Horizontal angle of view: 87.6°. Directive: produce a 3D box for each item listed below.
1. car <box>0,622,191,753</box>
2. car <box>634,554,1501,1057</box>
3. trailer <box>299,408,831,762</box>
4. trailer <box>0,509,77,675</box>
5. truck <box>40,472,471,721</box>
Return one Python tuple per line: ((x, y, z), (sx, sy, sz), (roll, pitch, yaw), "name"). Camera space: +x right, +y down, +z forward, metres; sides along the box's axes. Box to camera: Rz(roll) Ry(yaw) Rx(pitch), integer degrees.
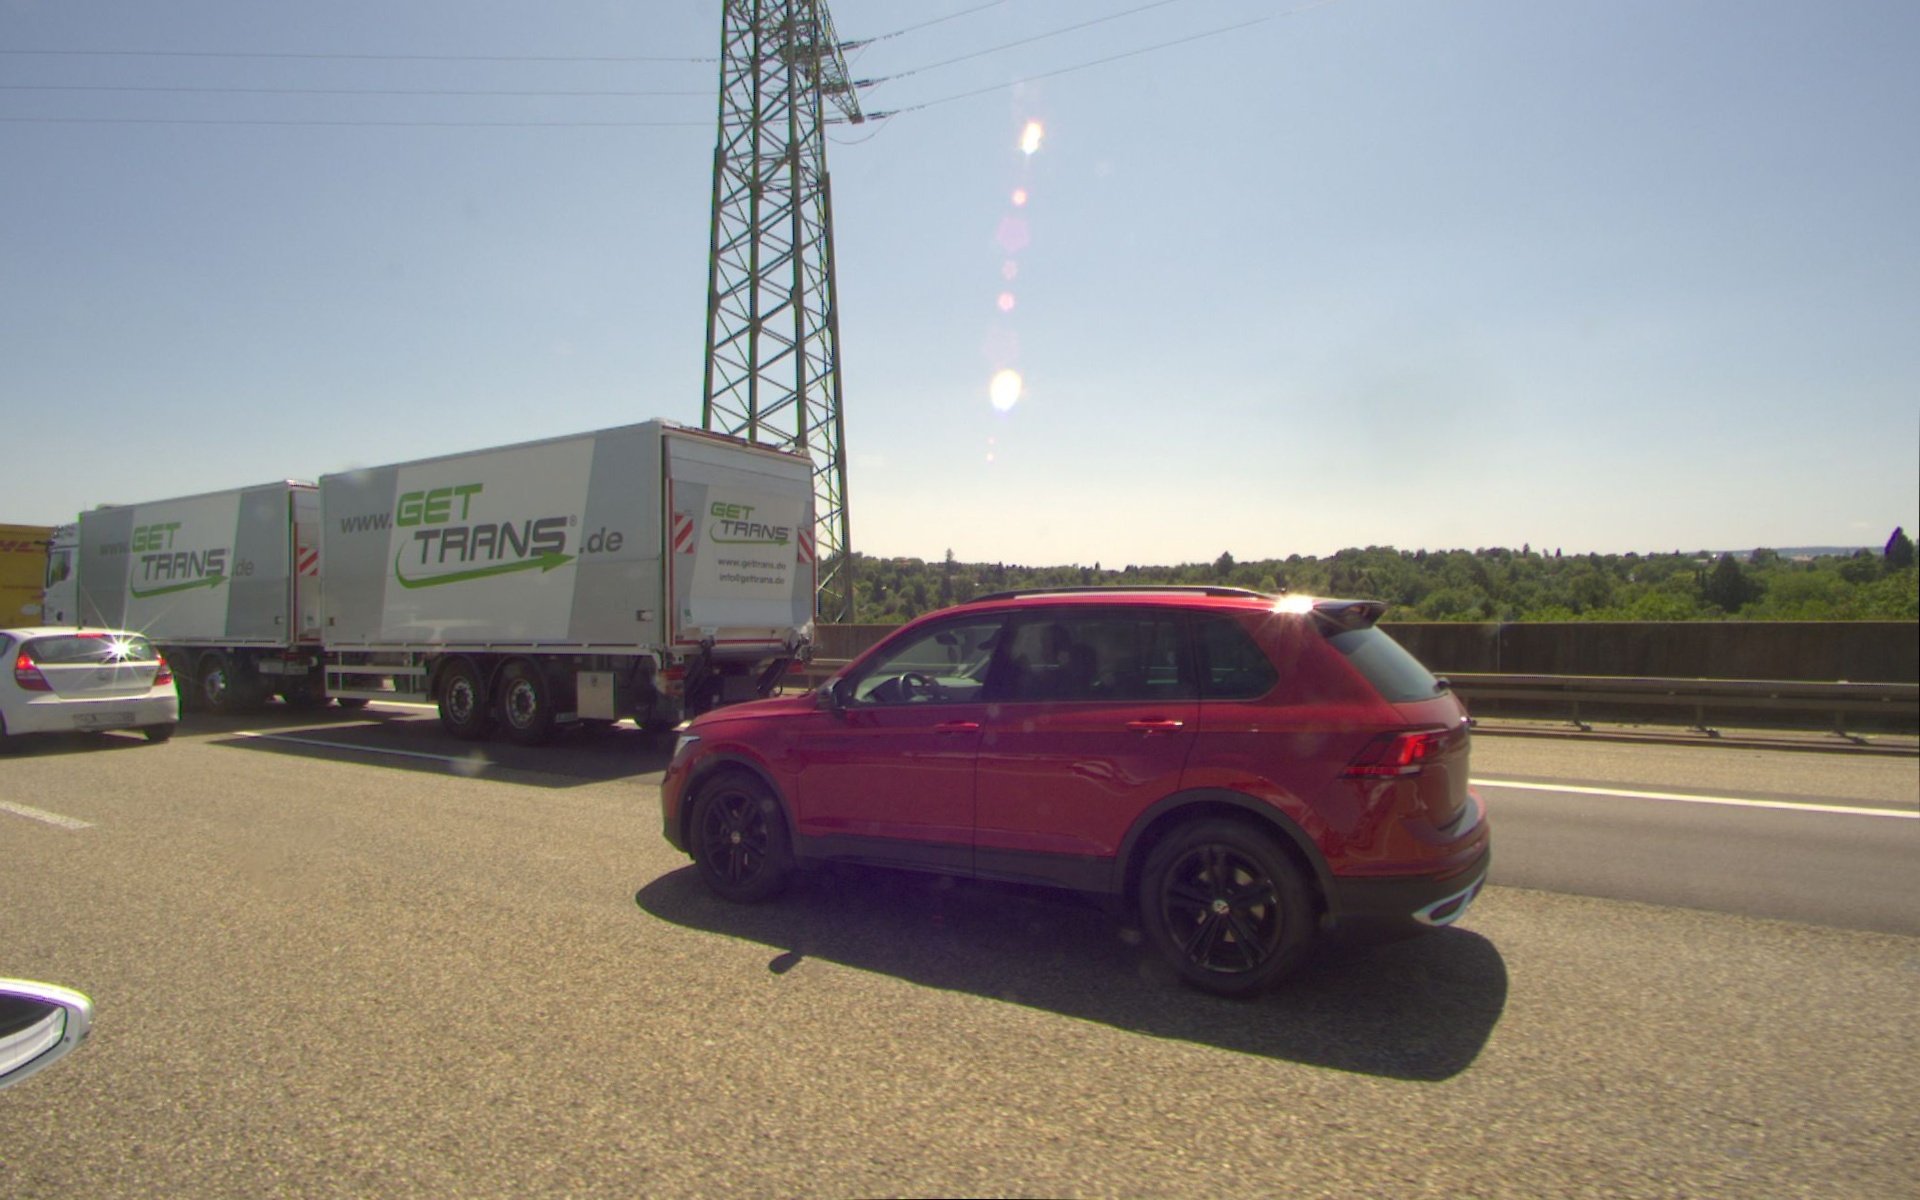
((-12.122, 1.030, 13.225), (4.232, 1.474, 1.785), (-1, -1, 32), "car")
((0.408, 0.732, 5.218), (4.163, 1.683, 1.772), (-1, -1, 32), "car")
((-5.707, -0.096, 13.836), (7.899, 3.748, 2.693), (-1, 0, 32), "trailer")
((-28.512, -0.112, 28.360), (8.883, 4.293, 2.860), (-1, -2, 32), "trailer")
((-13.641, 0.026, 18.866), (10.851, 3.695, 2.652), (-1, -1, 32), "truck")
